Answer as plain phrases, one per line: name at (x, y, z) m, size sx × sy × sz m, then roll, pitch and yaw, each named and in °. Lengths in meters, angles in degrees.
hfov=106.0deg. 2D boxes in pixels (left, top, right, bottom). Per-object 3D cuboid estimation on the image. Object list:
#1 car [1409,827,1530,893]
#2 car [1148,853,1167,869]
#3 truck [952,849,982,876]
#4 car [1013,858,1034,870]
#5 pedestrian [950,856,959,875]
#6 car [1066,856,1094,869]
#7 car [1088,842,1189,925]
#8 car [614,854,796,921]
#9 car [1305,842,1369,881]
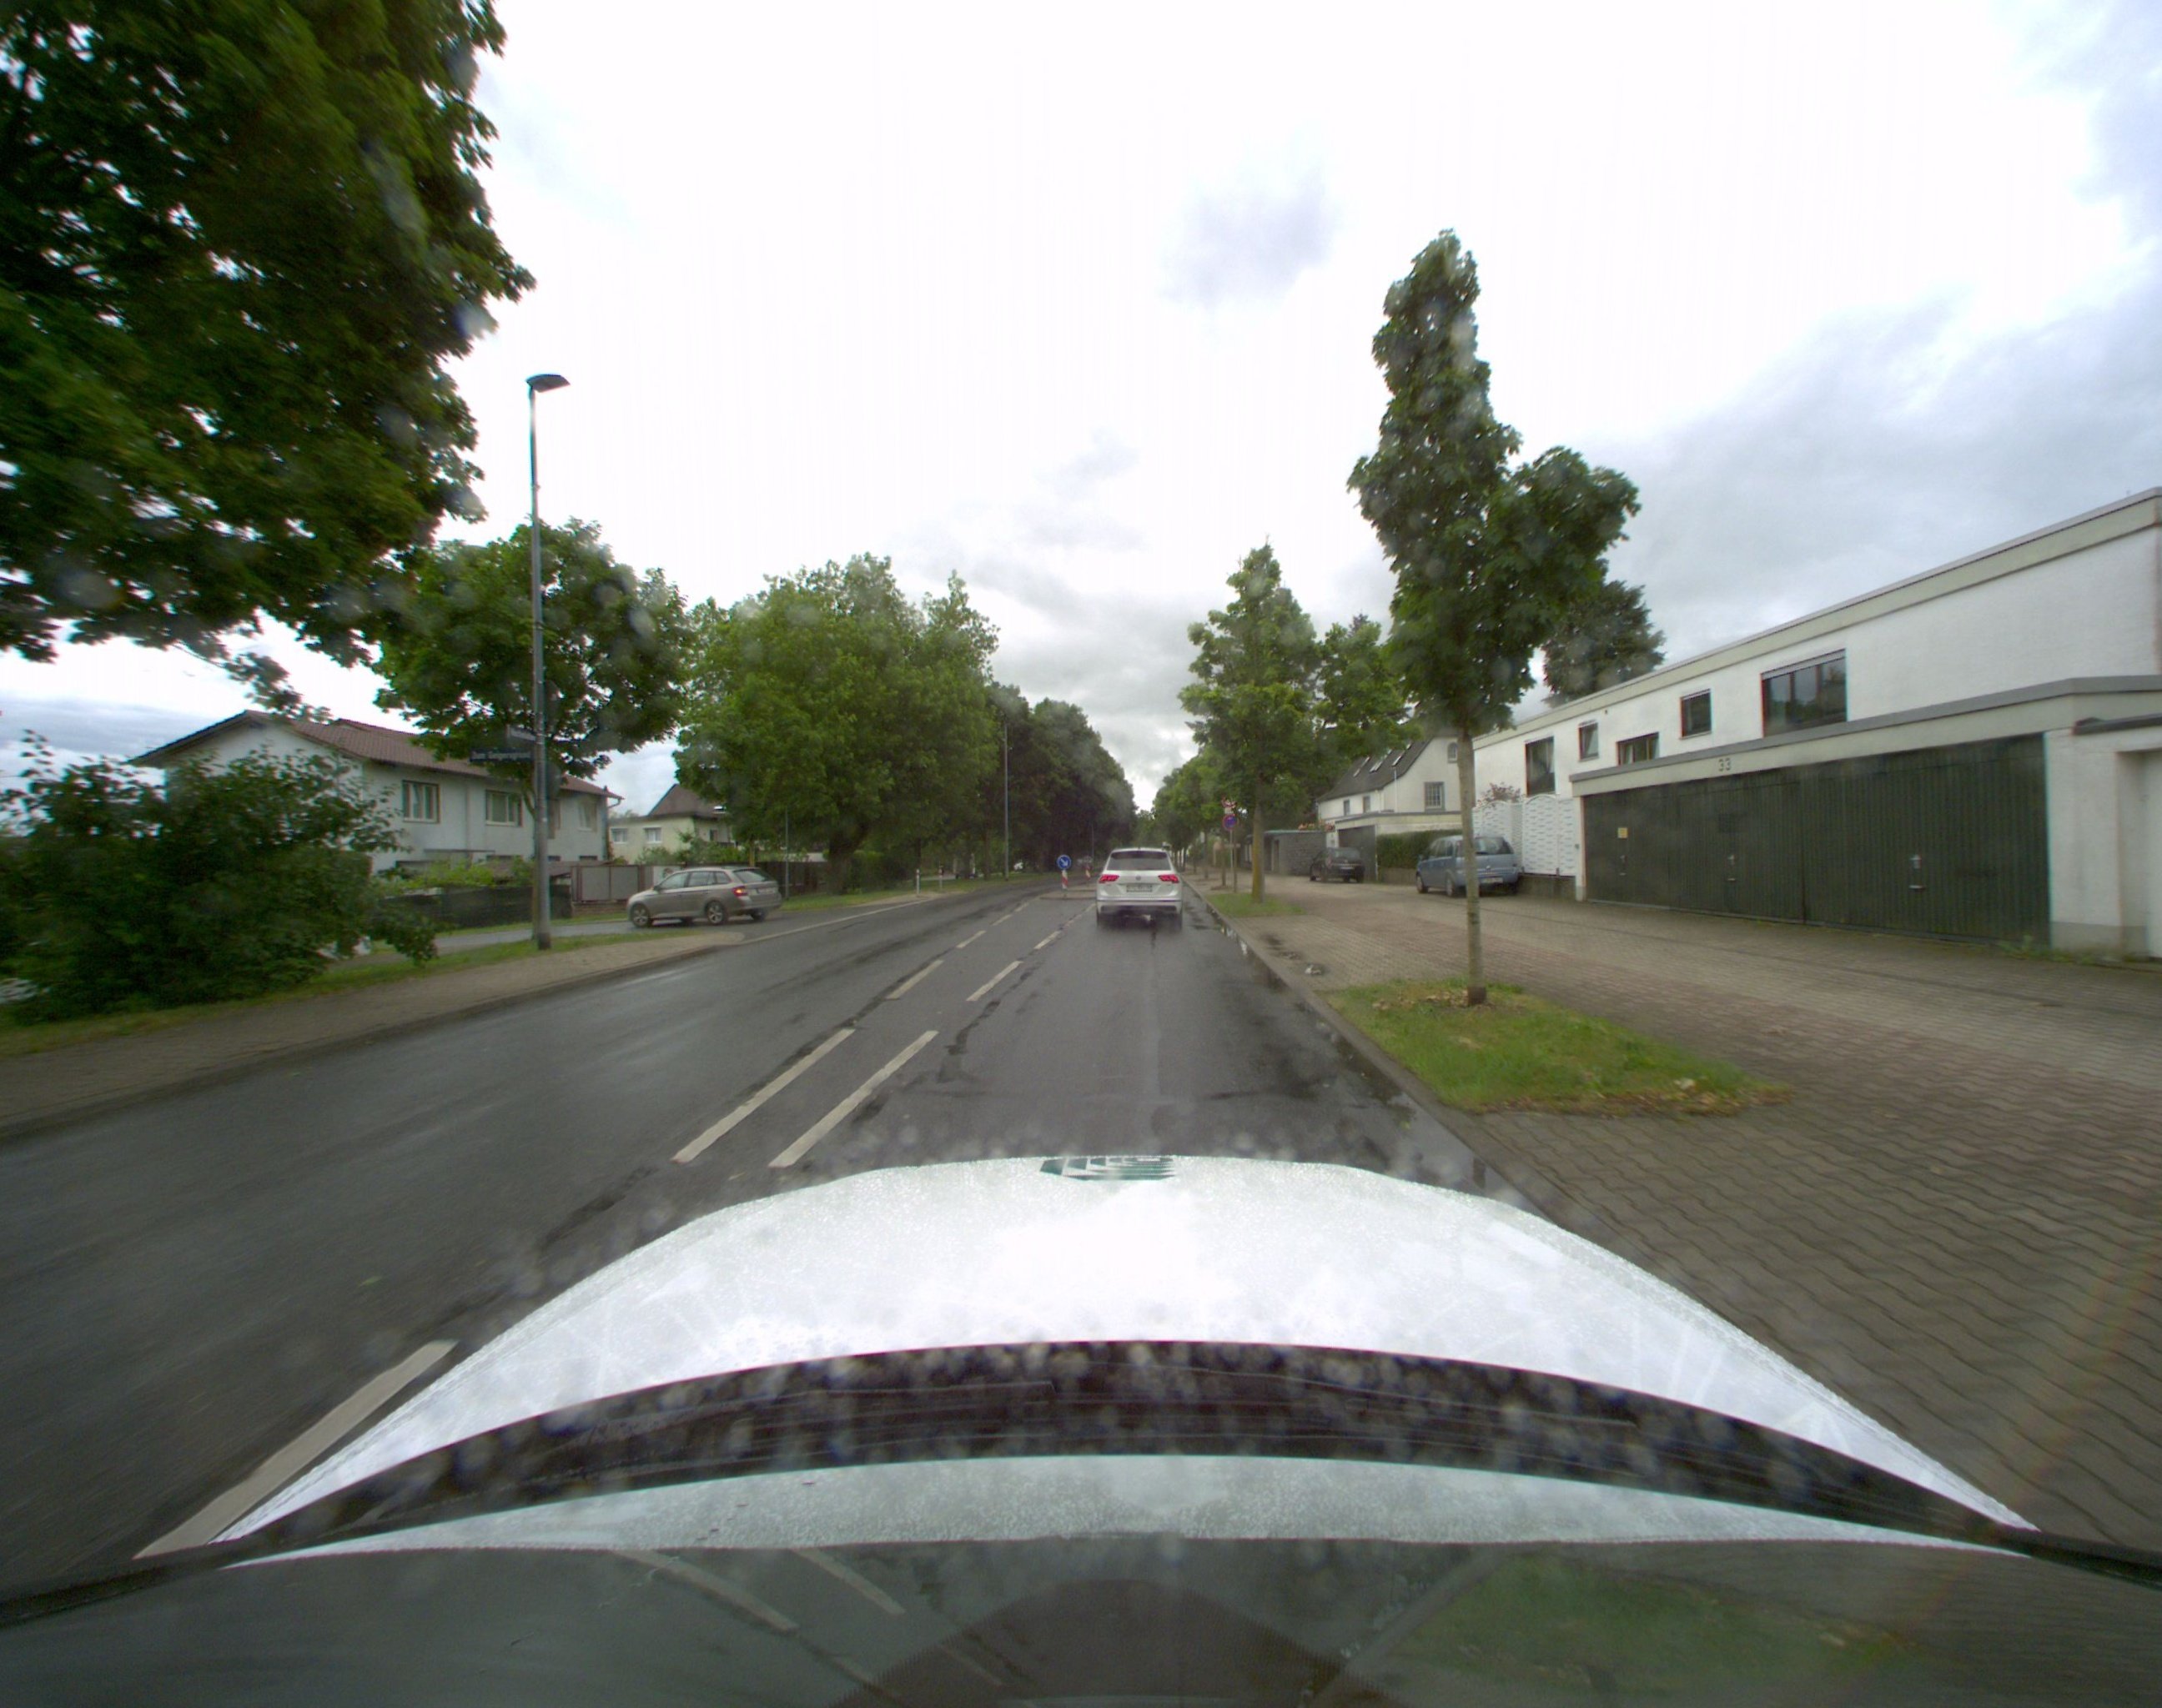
car at (10.511, 0.153, 22.353) m, size 1.735 × 1.611 × 4.007 m, roll -2°, pitch 0°, yaw 6°
car at (7.448, 0.700, 79.228) m, size 1.831 × 1.487 × 4.006 m, roll 1°, pitch 0°, yaw 5°
truck at (-11.540, 0.889, 82.803) m, size 2.278 × 2.597 × 5.871 m, roll -1°, pitch 0°, yaw -1°
car at (-7.174, 1.244, 101.423) m, size 1.844 × 1.482 × 3.980 m, roll -1°, pitch 0°, yaw -14°
pedestrian at (-12.344, 1.124, 79.398) m, size 0.707 × 1.841 × 0.824 m, roll -2°, pitch 0°, yaw 0°
car at (-0.157, 1.072, 103.387) m, size 1.852 × 1.482 × 3.962 m, roll -1°, pitch -1°, yaw -29°
car at (1.264, 0.576, 18.152) m, size 1.988 × 1.632 × 4.004 m, roll 0°, pitch 0°, yaw 3°
car at (-9.670, 0.862, 21.012) m, size 3.955 × 1.487 × 1.855 m, roll -3°, pitch -1°, yaw 17°
car at (10.913, 0.296, 34.984) m, size 1.762 × 1.498 × 4.552 m, roll -2°, pitch 0°, yaw 7°
